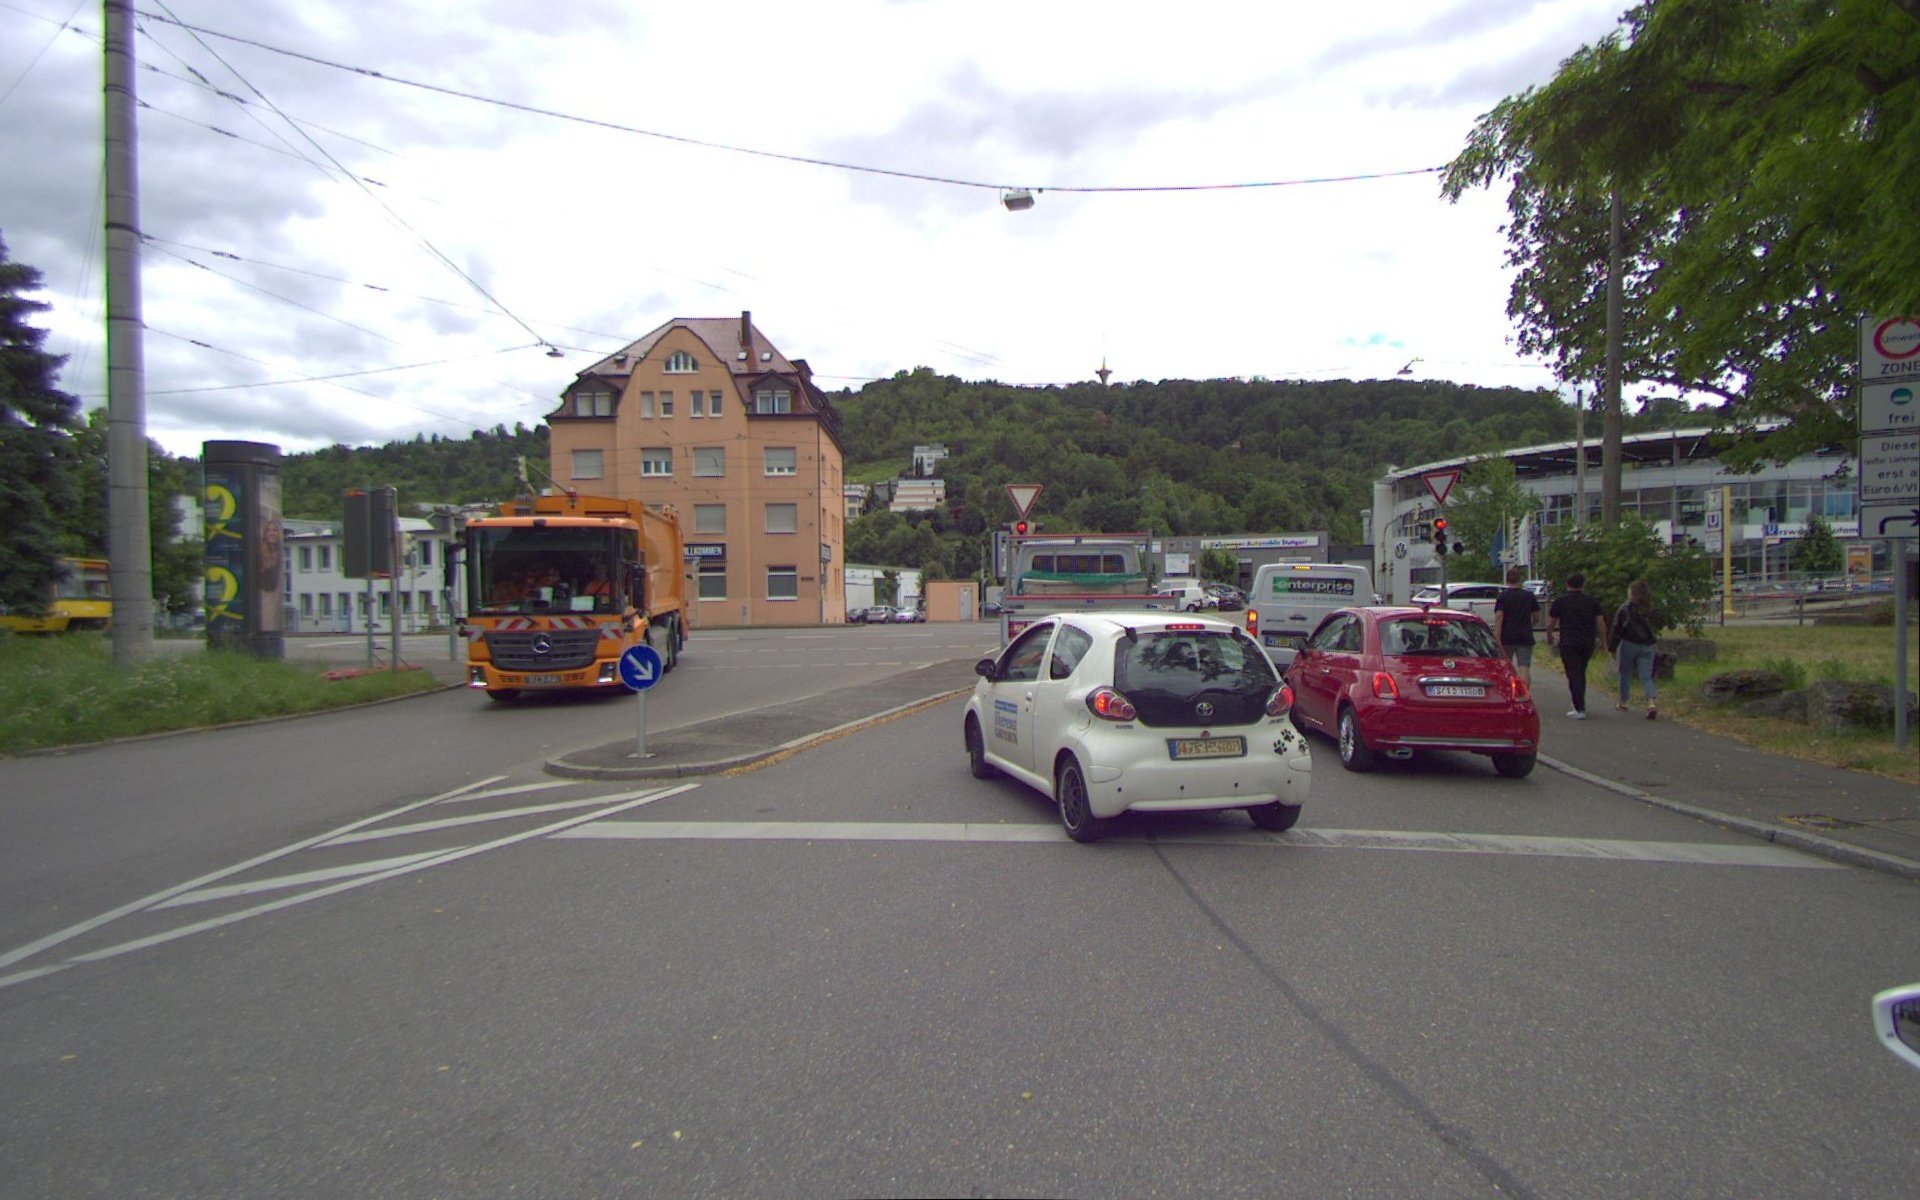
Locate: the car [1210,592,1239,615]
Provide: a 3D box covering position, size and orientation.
[{"bbox_3d":[21.574,0.273,81.790,1.960,1.840,4.000,-1,0,19],"label":"car"}]

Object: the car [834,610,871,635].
[{"bbox_3d":[-9.443,1.935,88.734,1.960,2.041,4.001,0,1,14],"label":"car"}]

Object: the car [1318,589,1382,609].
[{"bbox_3d":[31.421,-0.070,80.991,4.717,1.554,1.775,-1,0,20],"label":"car"}]

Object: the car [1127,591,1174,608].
[{"bbox_3d":[17.806,-0.031,93.805,4.011,1.554,1.775,-1,0,22],"label":"car"}]

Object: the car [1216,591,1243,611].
[{"bbox_3d":[21.904,0.044,81.651,1.741,1.554,4.090,-1,0,20],"label":"car"}]

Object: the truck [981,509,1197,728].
[{"bbox_3d":[1.666,0.213,14.361,2.381,2.430,6.031,-1,0,4],"label":"truck"}]

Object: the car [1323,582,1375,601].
[{"bbox_3d":[38.615,-0.819,99.758,4.717,1.827,1.775,-1,0,20],"label":"car"}]

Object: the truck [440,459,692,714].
[{"bbox_3d":[-6.952,-0.257,19.460,2.748,3.574,10.398,0,1,-11],"label":"truck"}]

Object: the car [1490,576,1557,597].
[{"bbox_3d":[42.453,-1.038,75.774,1.773,1.512,4.185,-1,0,-27],"label":"car"}]

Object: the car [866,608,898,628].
[{"bbox_3d":[-6.831,1.568,88.031,1.748,1.539,3.631,-1,1,13],"label":"car"}]

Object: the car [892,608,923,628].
[{"bbox_3d":[-4.551,1.546,87.521,1.748,1.539,3.631,-1,1,13],"label":"car"}]

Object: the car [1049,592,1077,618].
[{"bbox_3d":[7.724,0.346,75.244,1.828,1.842,4.404,-1,0,8],"label":"car"}]

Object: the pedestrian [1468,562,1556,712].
[{"bbox_3d":[7.147,0.465,13.032,0.682,1.882,0.788,-1,0,-1],"label":"pedestrian"}]

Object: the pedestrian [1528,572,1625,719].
[{"bbox_3d":[7.561,0.544,12.359,0.682,1.737,0.788,-1,0,-1],"label":"pedestrian"}]

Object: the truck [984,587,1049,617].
[{"bbox_3d":[4.712,0.129,84.259,5.107,2.425,1.996,-1,1,-11],"label":"truck"}]

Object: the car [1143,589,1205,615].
[{"bbox_3d":[17.081,0.160,80.096,4.615,1.929,1.774,-1,0,23],"label":"car"}]

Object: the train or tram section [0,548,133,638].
[{"bbox_3d":[-46.538,-0.181,45.086,18.785,3.715,3.279,-1,1,11],"label":"train or tram section"}]

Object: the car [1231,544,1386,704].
[{"bbox_3d":[5.491,0.322,15.929,1.957,2.135,4.761,-1,0,19],"label":"car"}]

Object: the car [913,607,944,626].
[{"bbox_3d":[-2.701,1.443,87.111,1.748,1.539,3.631,-1,1,13],"label":"car"}]

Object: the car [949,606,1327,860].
[{"bbox_3d":[1.105,0.793,7.765,1.616,1.452,3.421,-1,0,-14],"label":"car"}]

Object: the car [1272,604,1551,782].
[{"bbox_3d":[4.342,0.789,10.222,1.611,1.476,3.432,0,0,6],"label":"car"}]

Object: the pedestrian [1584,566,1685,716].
[{"bbox_3d":[8.251,0.488,12.315,0.682,1.763,0.788,-1,0,-1],"label":"pedestrian"}]

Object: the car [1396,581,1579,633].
[{"bbox_3d":[16.549,0.196,31.670,4.799,1.528,1.805,-1,1,3],"label":"car"}]
